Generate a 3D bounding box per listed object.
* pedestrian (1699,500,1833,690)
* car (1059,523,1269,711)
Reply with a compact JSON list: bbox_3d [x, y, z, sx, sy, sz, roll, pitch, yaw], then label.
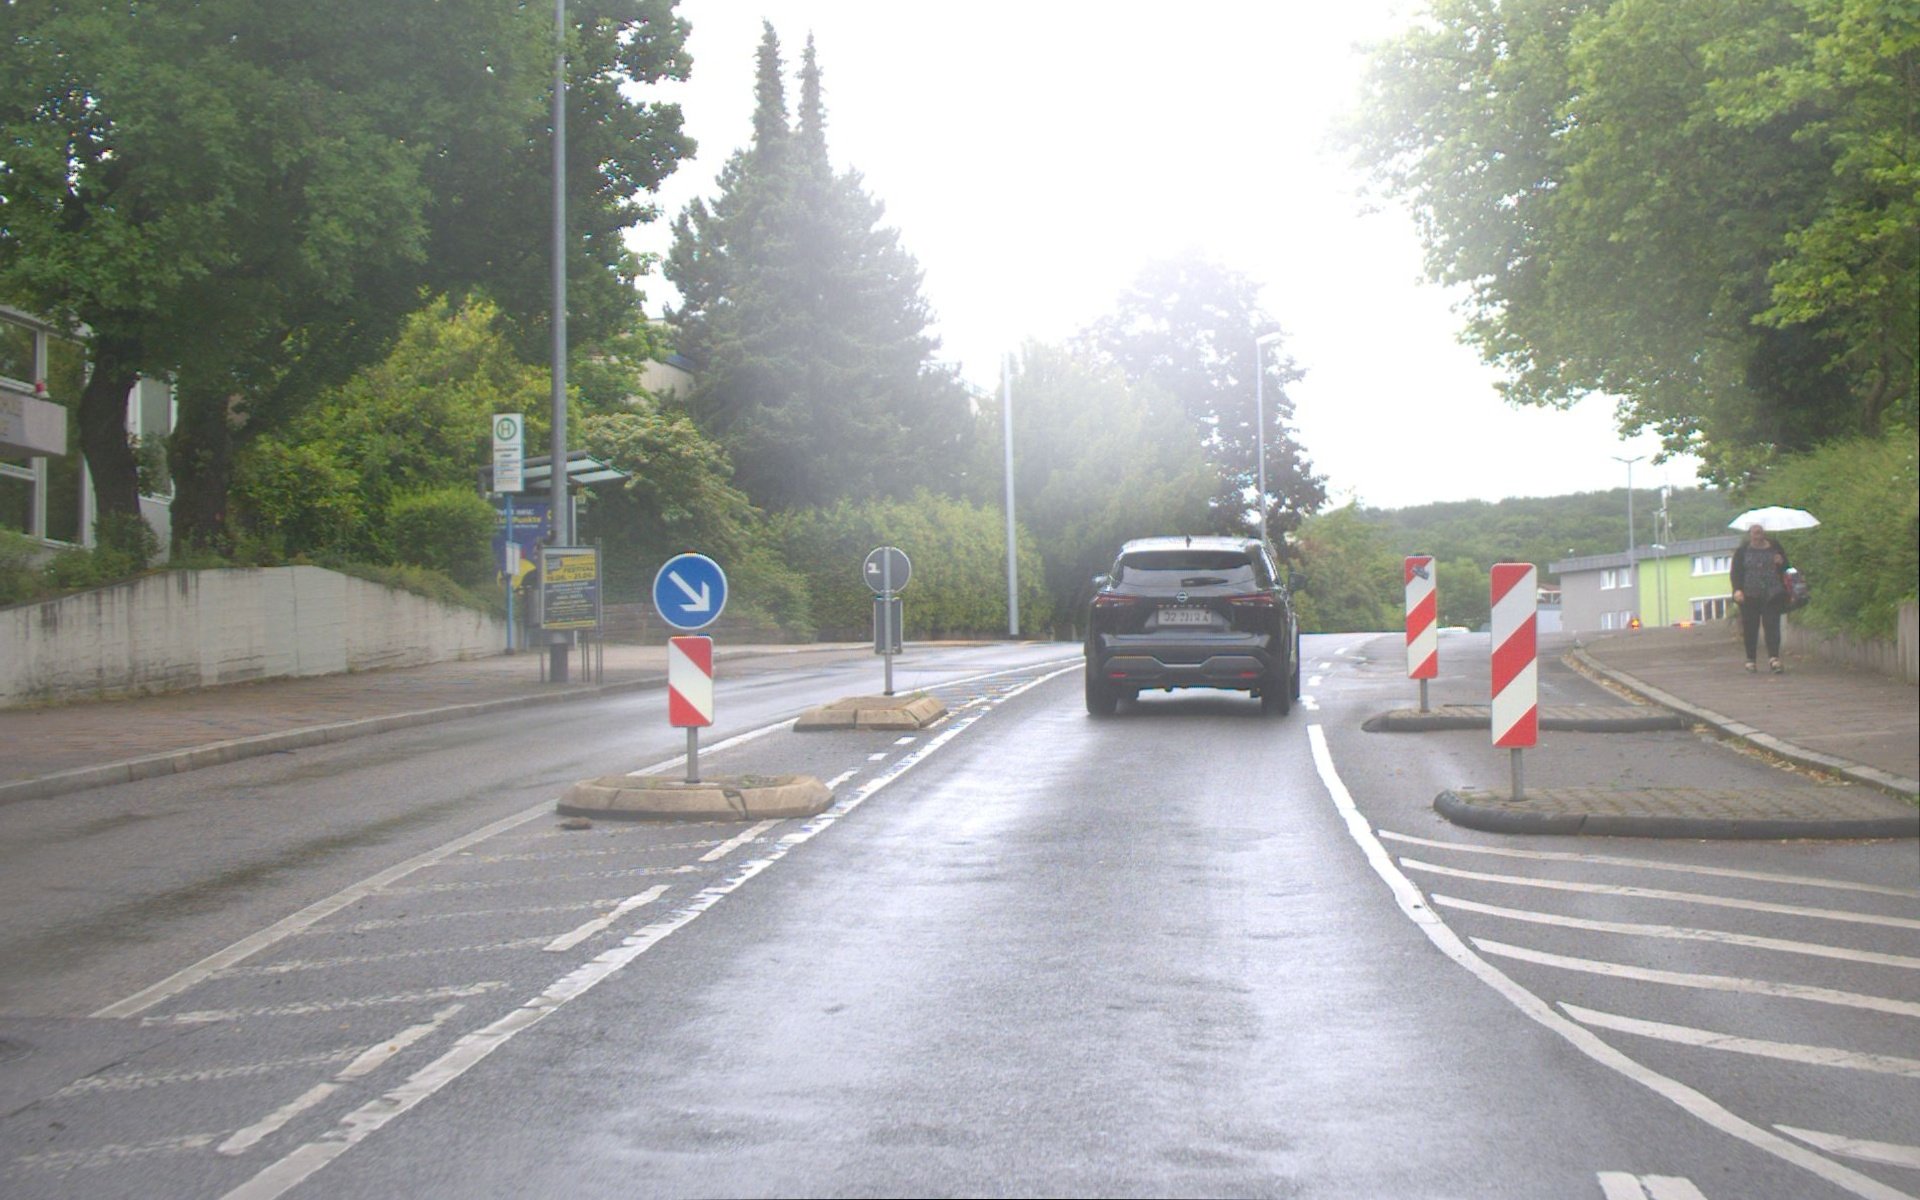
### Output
[{"bbox_3d":[8.191,-0.036,34.996,1.051,1.887,1.133,-1,-1,-1],"label":"pedestrian"},{"bbox_3d":[1.860,0.101,31.915,1.790,1.598,4.253,-1,1,3],"label":"car"}]
